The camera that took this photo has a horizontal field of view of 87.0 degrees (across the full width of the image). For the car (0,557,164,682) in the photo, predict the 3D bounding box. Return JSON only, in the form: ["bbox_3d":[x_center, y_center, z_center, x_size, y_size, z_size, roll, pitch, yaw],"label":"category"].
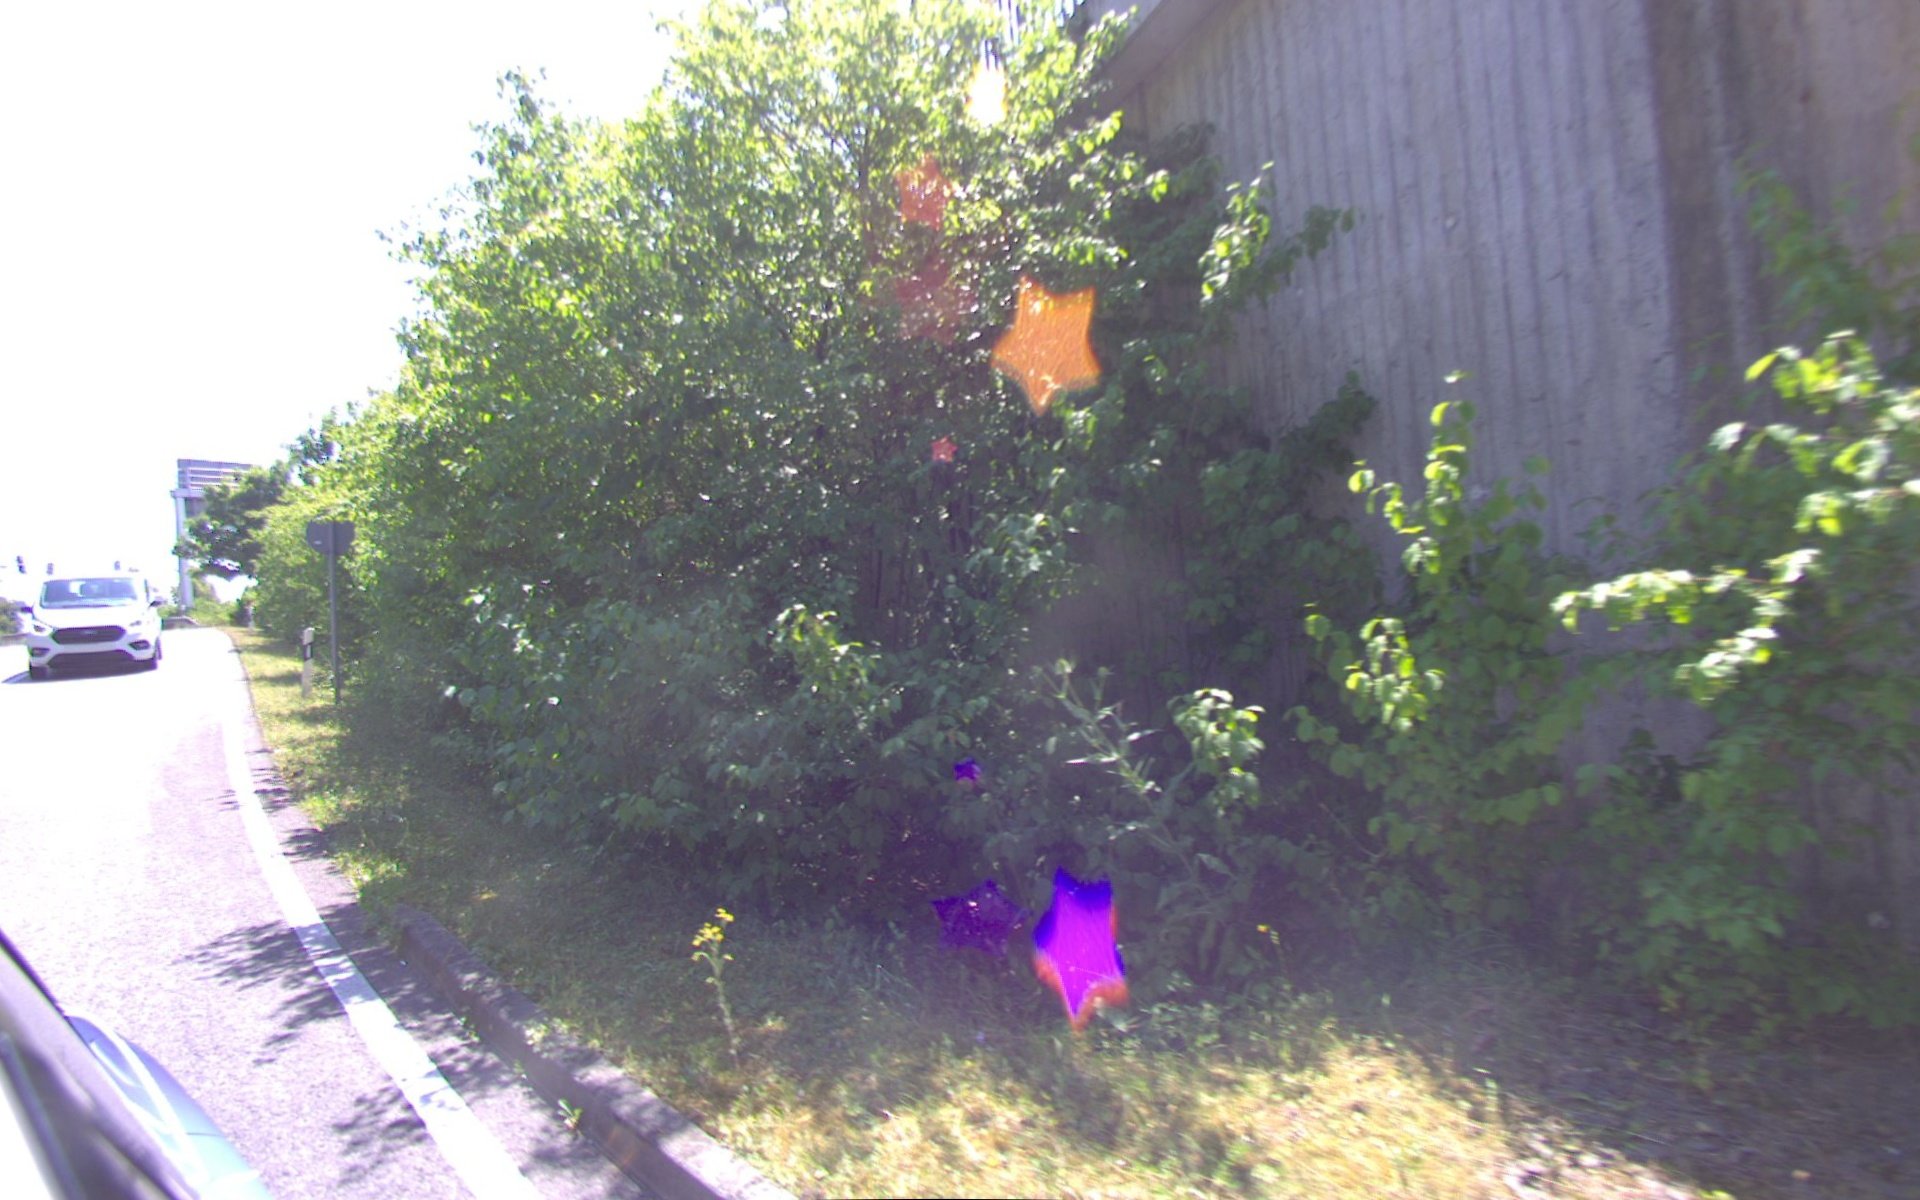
[{"bbox_3d":[-17.677,0.345,20.650,1.999,2.100,5.885,-5,2,-37],"label":"car"}]
